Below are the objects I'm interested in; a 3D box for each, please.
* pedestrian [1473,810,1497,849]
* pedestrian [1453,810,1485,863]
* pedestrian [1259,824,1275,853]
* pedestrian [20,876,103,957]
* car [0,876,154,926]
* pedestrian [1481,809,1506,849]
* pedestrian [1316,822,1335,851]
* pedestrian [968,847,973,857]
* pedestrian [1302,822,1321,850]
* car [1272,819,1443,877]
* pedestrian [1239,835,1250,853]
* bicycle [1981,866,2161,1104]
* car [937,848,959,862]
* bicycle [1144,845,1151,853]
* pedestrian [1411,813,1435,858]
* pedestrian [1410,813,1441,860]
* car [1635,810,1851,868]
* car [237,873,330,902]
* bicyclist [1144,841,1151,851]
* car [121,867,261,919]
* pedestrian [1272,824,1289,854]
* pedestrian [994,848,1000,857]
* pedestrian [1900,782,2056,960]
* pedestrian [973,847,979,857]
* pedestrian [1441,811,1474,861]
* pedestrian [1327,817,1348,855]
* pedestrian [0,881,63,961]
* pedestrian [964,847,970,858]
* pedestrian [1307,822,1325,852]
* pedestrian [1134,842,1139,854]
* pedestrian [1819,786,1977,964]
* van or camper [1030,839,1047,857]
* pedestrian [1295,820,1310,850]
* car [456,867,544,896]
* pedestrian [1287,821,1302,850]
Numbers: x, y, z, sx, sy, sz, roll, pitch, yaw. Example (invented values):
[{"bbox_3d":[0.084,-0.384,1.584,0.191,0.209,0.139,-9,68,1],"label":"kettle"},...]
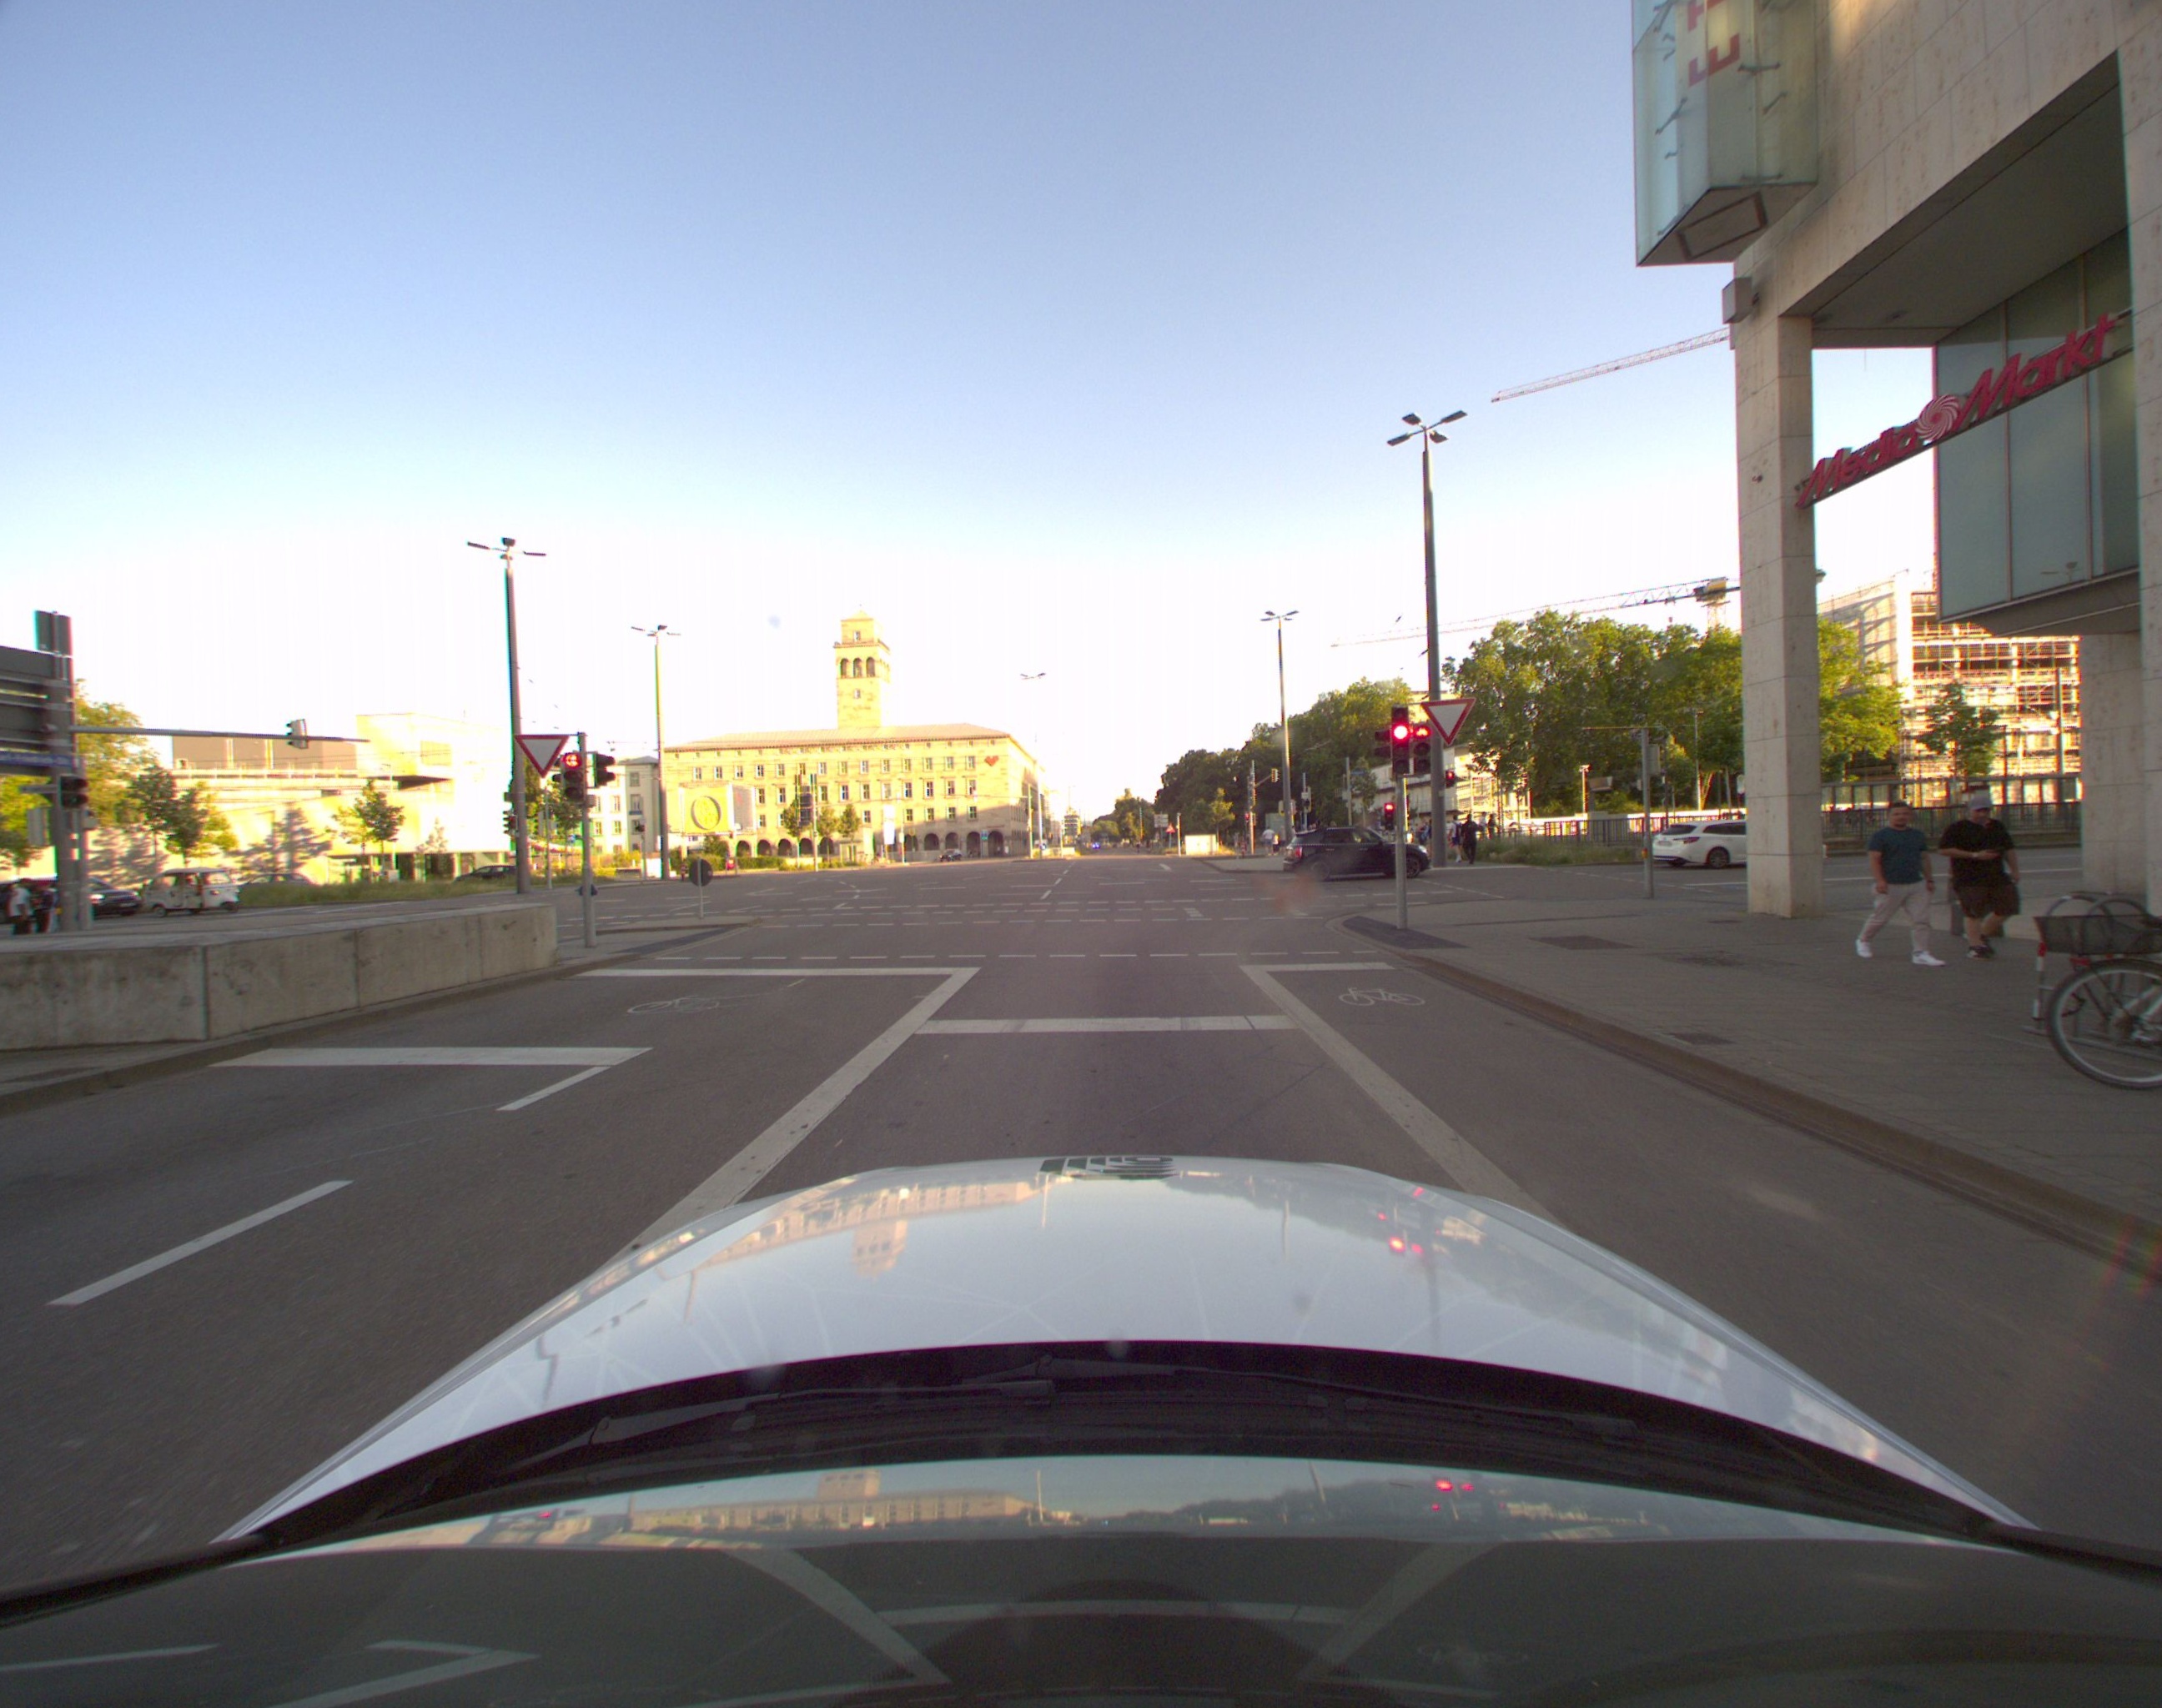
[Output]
[{"bbox_3d":[18.414,-1.121,37.098,0.682,1.729,0.840,-2,1,5],"label":"pedestrian"},{"bbox_3d":[13.761,-0.620,28.871,0.884,1.830,0.692,-2,1,35],"label":"pedestrian"},{"bbox_3d":[11.155,-0.936,48.847,0.805,1.729,0.688,-2,1,0],"label":"pedestrian"},{"bbox_3d":[-24.101,1.450,19.267,0.864,1.776,0.735,-5,1,-22],"label":"pedestrian"},{"bbox_3d":[-37.935,1.734,30.441,4.176,1.592,1.693,-2,1,-7],"label":"car"},{"bbox_3d":[18.359,-1.091,36.280,0.682,1.729,0.840,-2,1,4],"label":"pedestrian"},{"bbox_3d":[14.837,-1.055,49.450,0.689,1.729,0.804,-3,1,-24],"label":"pedestrian"},{"bbox_3d":[-16.743,-0.284,123.505,0.631,1.567,0.776,-2,1,3],"label":"pedestrian"},{"bbox_3d":[14.249,-1.112,50.408,0.690,1.729,0.803,-3,1,-31],"label":"pedestrian"},{"bbox_3d":[8.231,-0.198,24.618,4.444,1.495,2.129,-2,1,1],"label":"car"},{"bbox_3d":[15.806,-0.950,78.774,0.805,1.729,0.929,-2,1,0],"label":"pedestrian"},{"bbox_3d":[6.225,0.681,4.378,1.803,1.212,0.573,-2,1,17],"label":"bicycle"},{"bbox_3d":[-16.467,0.121,101.229,1.987,1.661,4.001,-2,1,1],"label":"car"},{"bbox_3d":[8.113,-0.591,98.933,0.650,0.970,1.484,-2,1,-1],"label":"bicycle"},{"bbox_3d":[13.482,-0.718,32.143,0.681,1.729,0.899,-2,1,12],"label":"pedestrian"},{"bbox_3d":[13.190,-0.678,31.199,0.889,1.729,0.688,-2,1,2],"label":"pedestrian"},{"bbox_3d":[19.949,-0.447,24.722,4.779,1.495,2.129,-2,1,1],"label":"car"},{"bbox_3d":[-47.117,1.976,48.175,3.707,1.452,1.543,-2,1,-5],"label":"car"},{"bbox_3d":[8.079,-0.950,98.910,0.650,1.223,0.861,-2,1,-2],"label":"bicyclist"},{"bbox_3d":[-33.405,1.435,30.658,3.133,1.685,1.605,-2,1,-12],"label":"car"},{"bbox_3d":[11.978,-0.901,48.850,0.805,1.729,0.688,-2,1,0],"label":"pedestrian"},{"bbox_3d":[-14.160,-0.283,137.236,0.769,1.567,0.636,-2,1,3],"label":"pedestrian"},{"bbox_3d":[9.631,0.172,8.773,0.753,1.776,0.741,-5,1,3],"label":"pedestrian"},{"bbox_3d":[-16.036,-0.324,124.389,0.631,1.567,0.776,-2,1,3],"label":"pedestrian"},{"bbox_3d":[14.209,-0.692,30.767,0.889,1.840,0.688,-2,1,2],"label":"pedestrian"},{"bbox_3d":[11.932,-0.832,37.895,0.689,1.729,0.742,-2,1,4],"label":"pedestrian"},{"bbox_3d":[-24.938,1.562,19.170,0.865,1.776,0.735,-5,1,-24],"label":"pedestrian"},{"bbox_3d":[-17.470,-0.201,124.520,0.631,1.567,0.776,-2,1,3],"label":"pedestrian"},{"bbox_3d":[14.083,-1.029,48.765,0.805,1.729,0.688,-2,1,1],"label":"pedestrian"},{"bbox_3d":[6.823,-0.720,99.811,0.521,1.374,0.687,-2,1,-2],"label":"pedestrian"},{"bbox_3d":[8.803,0.215,8.813,0.857,1.776,0.741,-5,1,3],"label":"pedestrian"},{"bbox_3d":[-7.037,-1.063,134.269,1.873,2.760,4.942,-2,1,7],"label":"van or camper"},{"bbox_3d":[13.312,-1.139,48.948,0.802,1.729,0.691,-2,1,14],"label":"pedestrian"},{"bbox_3d":[-34.927,1.642,49.057,3.974,1.452,1.541,-2,1,-9],"label":"car"},{"bbox_3d":[13.026,-1.101,49.647,0.802,1.729,0.691,-2,1,14],"label":"pedestrian"}]
